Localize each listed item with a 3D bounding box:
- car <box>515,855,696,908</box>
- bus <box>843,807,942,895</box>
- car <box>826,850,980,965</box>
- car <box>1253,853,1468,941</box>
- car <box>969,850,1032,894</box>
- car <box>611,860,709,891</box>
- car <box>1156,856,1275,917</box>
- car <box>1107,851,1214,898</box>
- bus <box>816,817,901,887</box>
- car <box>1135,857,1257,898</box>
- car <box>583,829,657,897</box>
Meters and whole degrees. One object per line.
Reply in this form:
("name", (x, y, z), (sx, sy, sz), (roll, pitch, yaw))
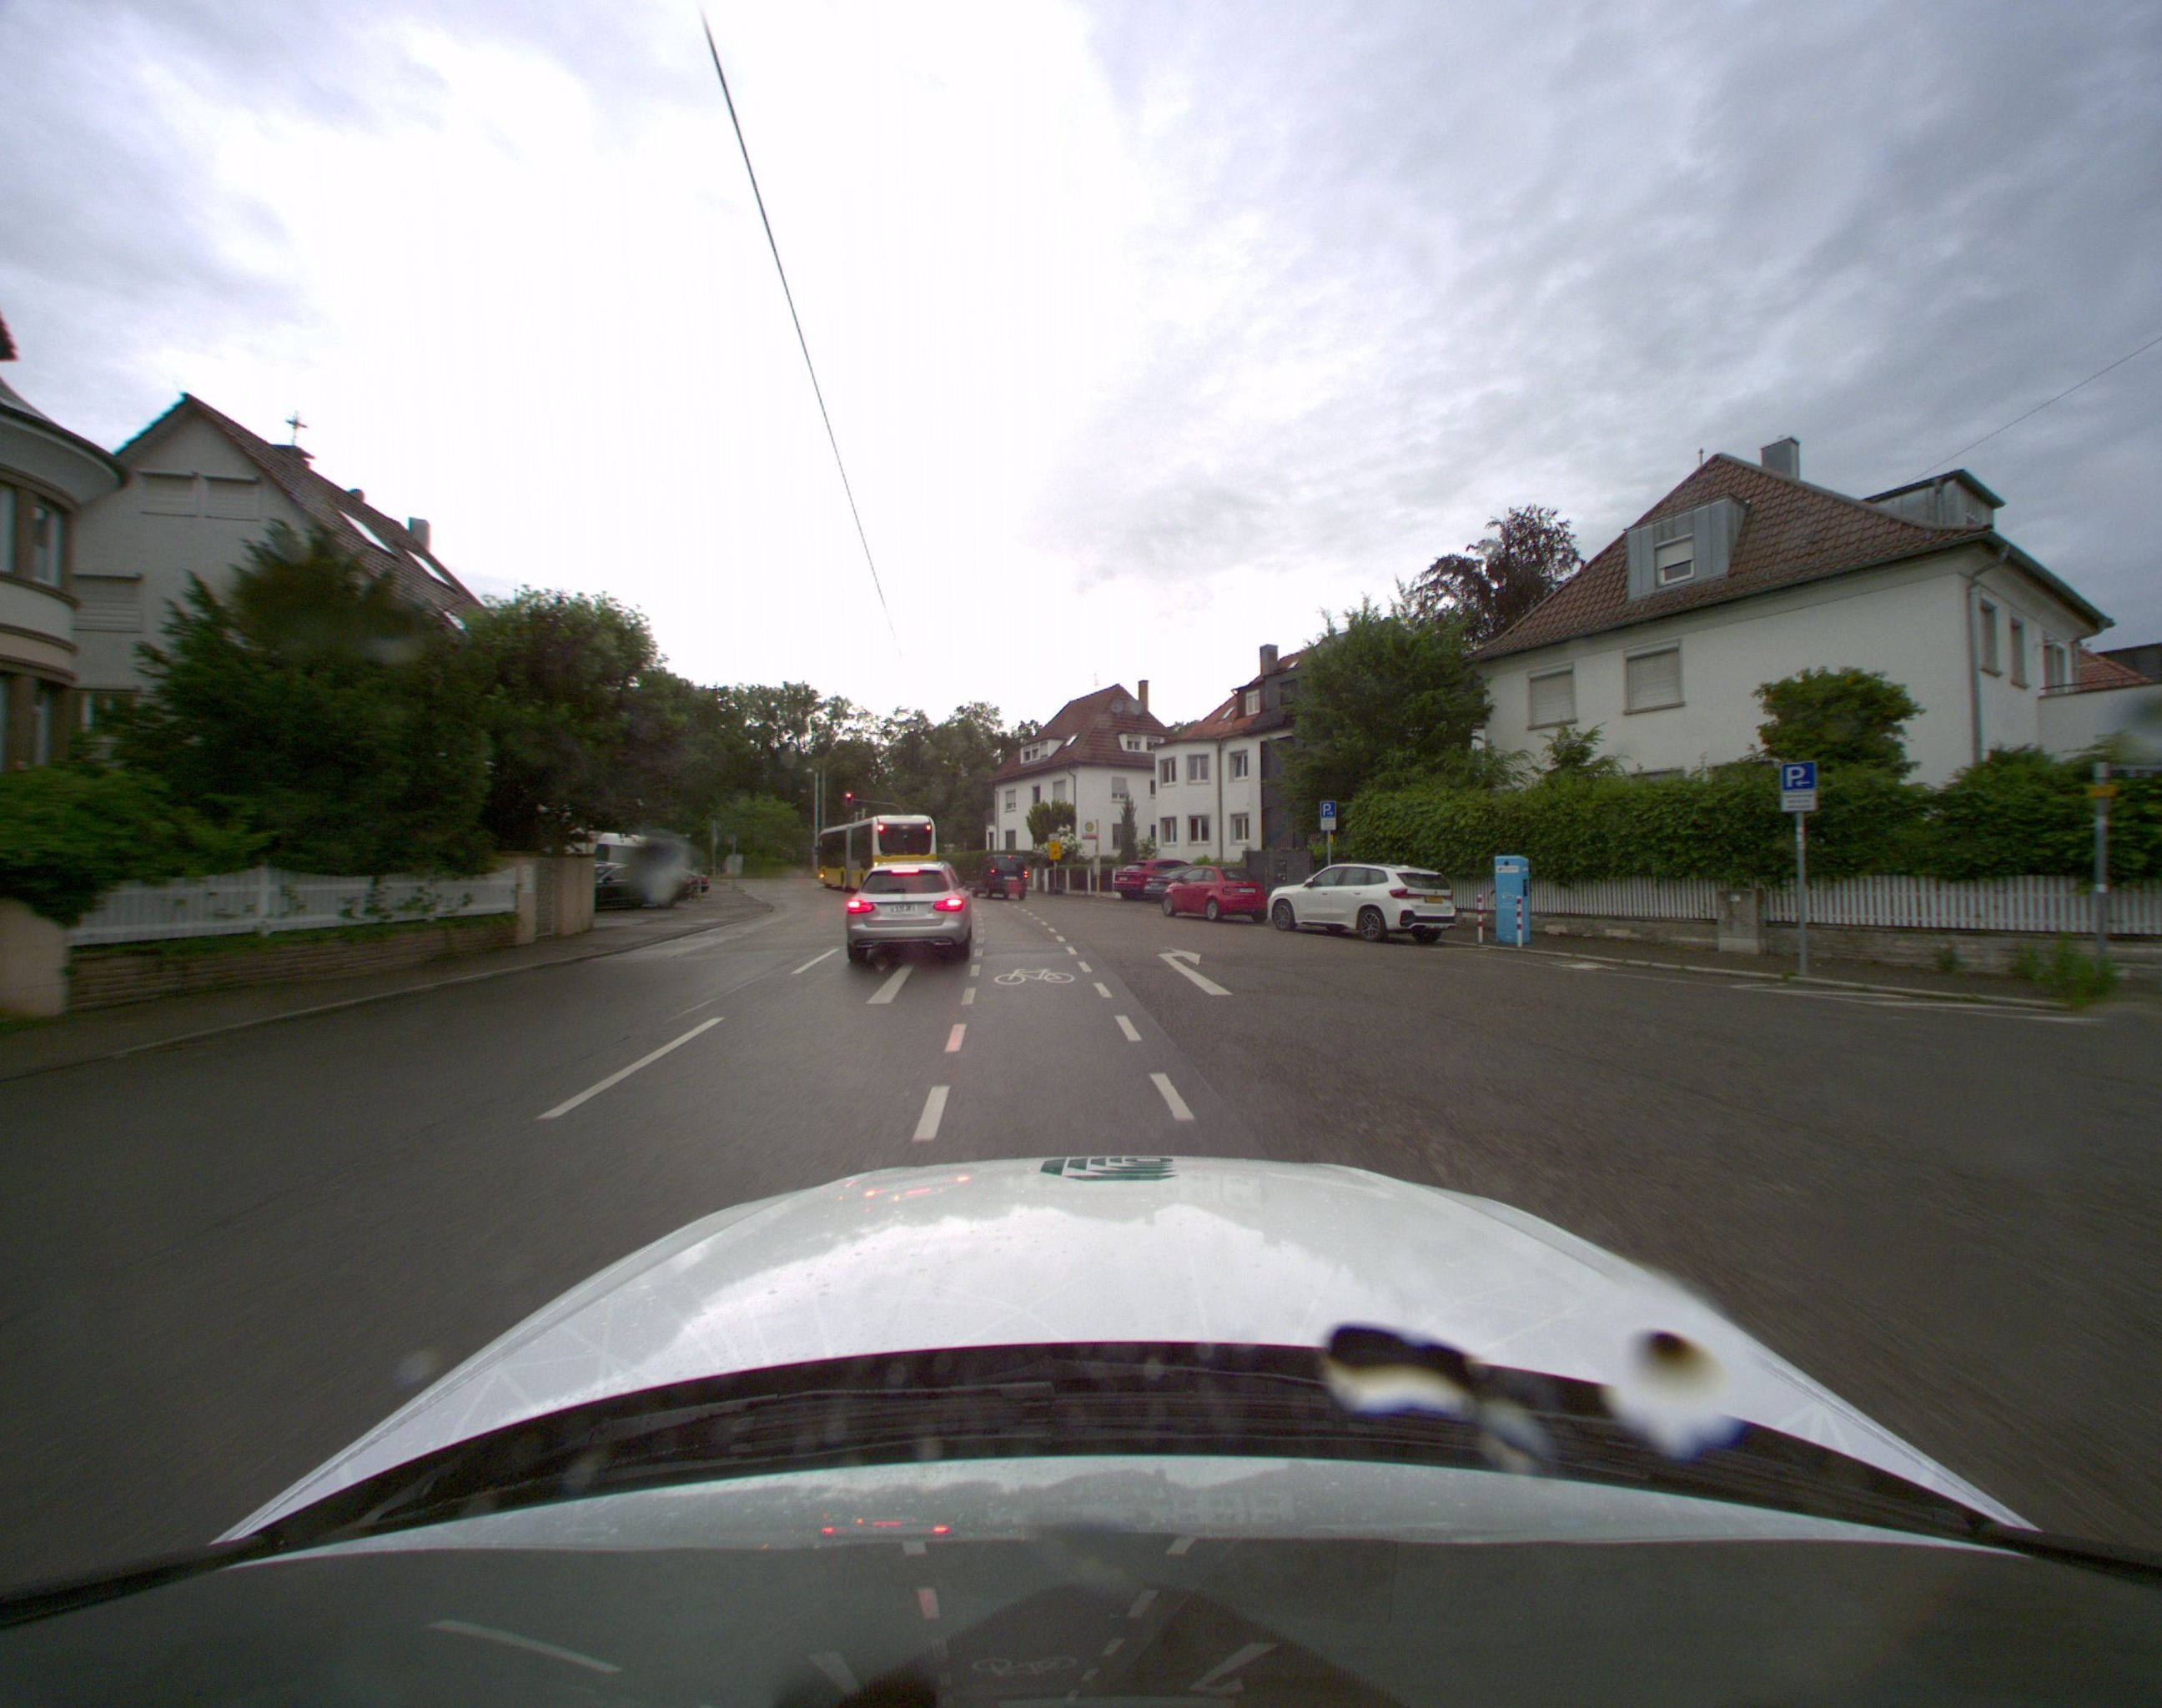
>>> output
("car", (-15.049, 0.860, 26.091), (1.781, 1.495, 4.711), (2, 0, 29))
("bus", (-8.567, -0.119, 36.045), (2.689, 3.398, 8.611), (0, 0, -24))
("car", (-2.660, 0.688, 13.061), (1.992, 1.479, 4.474), (0, 1, -8))
("car", (6.031, 0.853, 18.190), (1.754, 1.672, 4.606), (2, -1, -28))
("car", (-3.521, 0.765, 35.006), (1.814, 1.797, 3.974), (0, -1, -19))
("car", (-19.847, 1.001, 38.467), (3.847, 1.344, 1.784), (2, -1, -36))
("car", (3.715, 0.869, 22.999), (1.619, 1.537, 3.511), (2, -1, -25))
("car", (3.320, 0.794, 33.899), (4.101, 1.750, 1.980), (-1, 1, -32))
("bus", (-12.255, -0.093, 44.107), (2.914, 3.398, 8.964), (0, 0, -26))
("car", (4.554, 0.878, 32.060), (4.579, 1.416, 1.979), (-1, 1, -33))
("car", (-18.270, 0.362, 32.488), (2.003, 2.448, 5.450), (1, -1, -24))
